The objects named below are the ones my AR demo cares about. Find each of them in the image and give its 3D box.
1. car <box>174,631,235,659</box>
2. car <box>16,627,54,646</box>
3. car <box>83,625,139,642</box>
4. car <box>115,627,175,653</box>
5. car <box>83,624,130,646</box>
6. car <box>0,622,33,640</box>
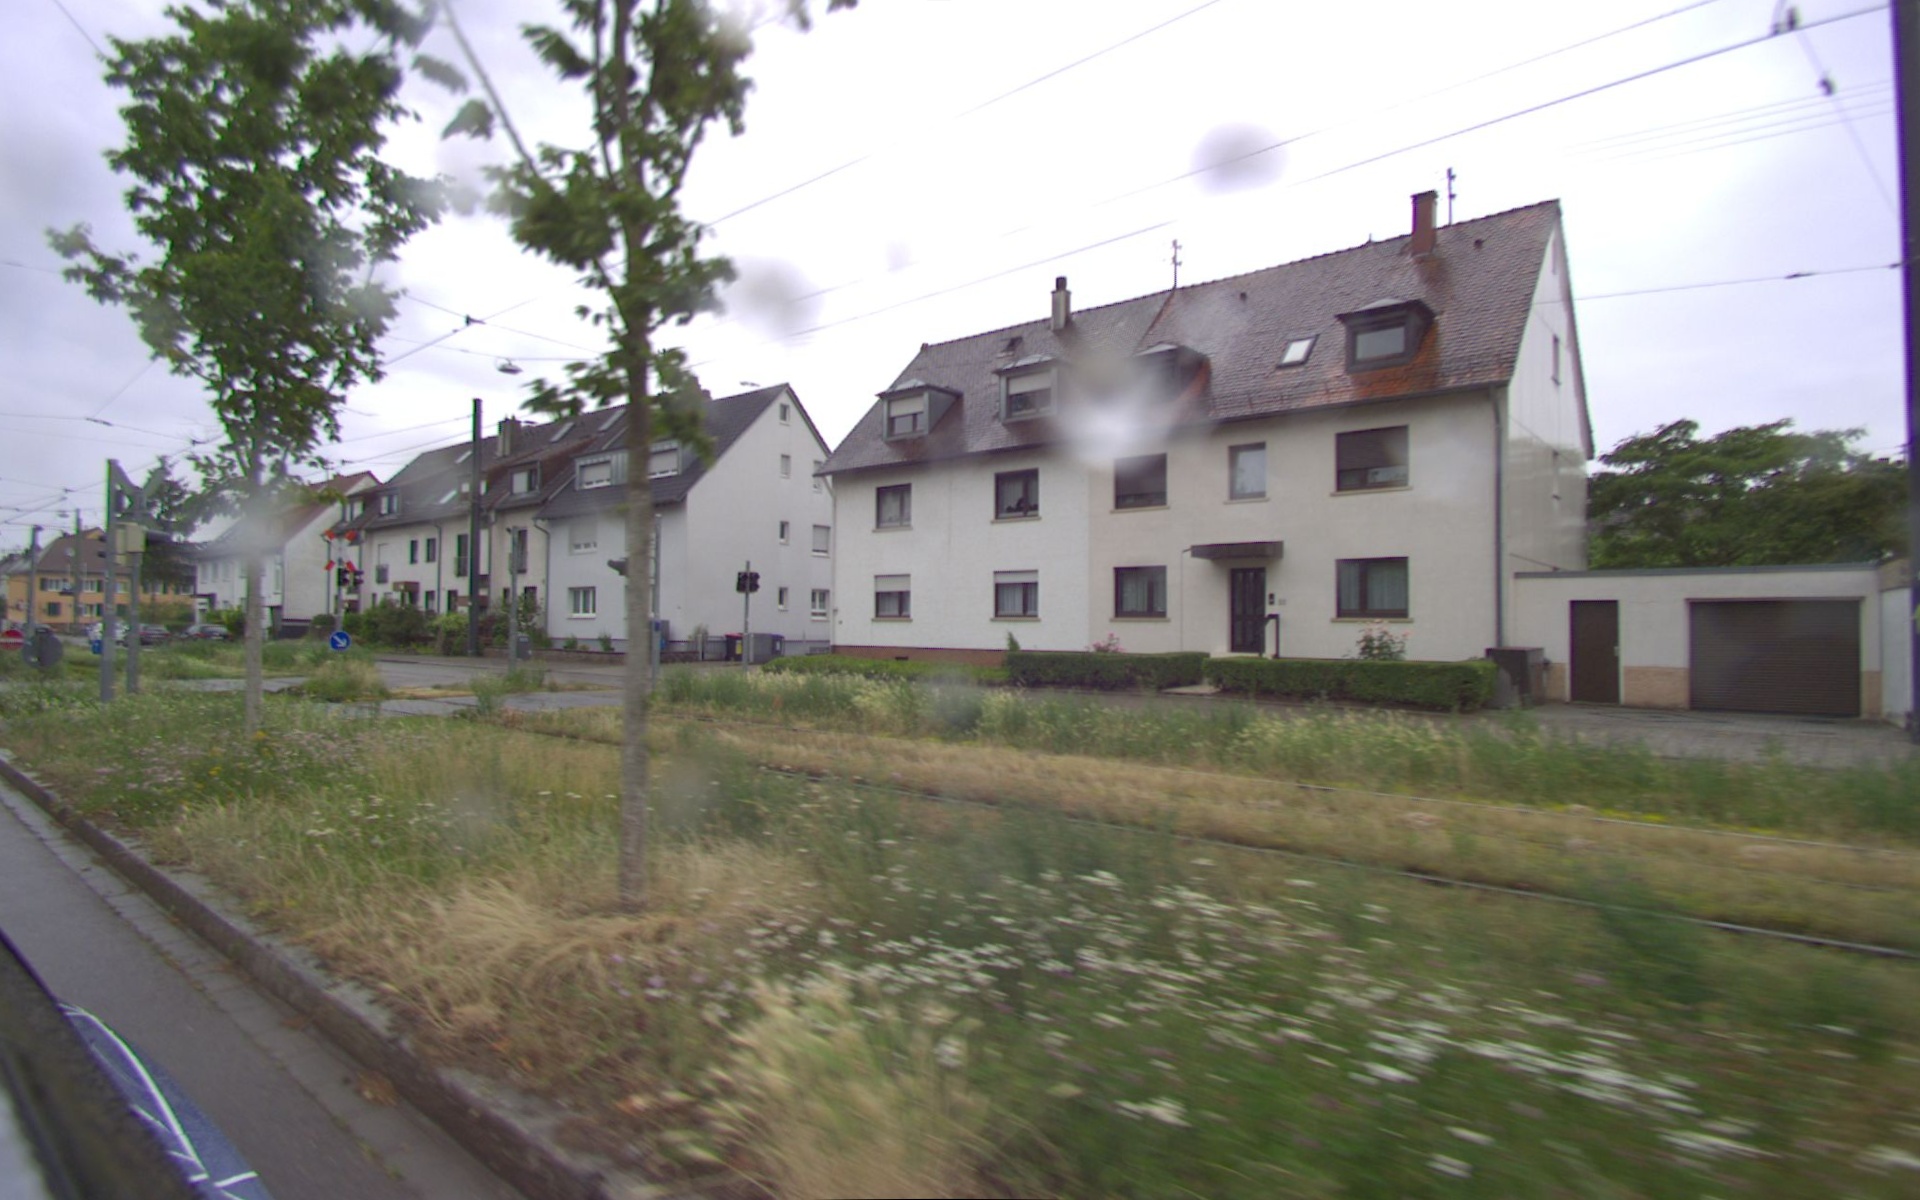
[{"bbox_3d":[-40.638,2.417,54.399,3.934,1.437,1.755,-1,-4,40],"label":"car"},{"bbox_3d":[-80.061,3.188,87.584,3.997,1.602,1.888,-1,-3,40],"label":"car"},{"bbox_3d":[-80.884,3.159,96.442,3.935,1.607,1.917,1,-2,-37],"label":"car"},{"bbox_3d":[-50.379,2.477,62.507,4.751,1.543,1.868,-1,-4,39],"label":"car"},{"bbox_3d":[-58.869,2.425,69.777,3.995,1.451,1.694,-1,-4,39],"label":"car"},{"bbox_3d":[-90.156,2.908,96.690,3.999,1.670,1.972,-1,-2,42],"label":"car"}]
